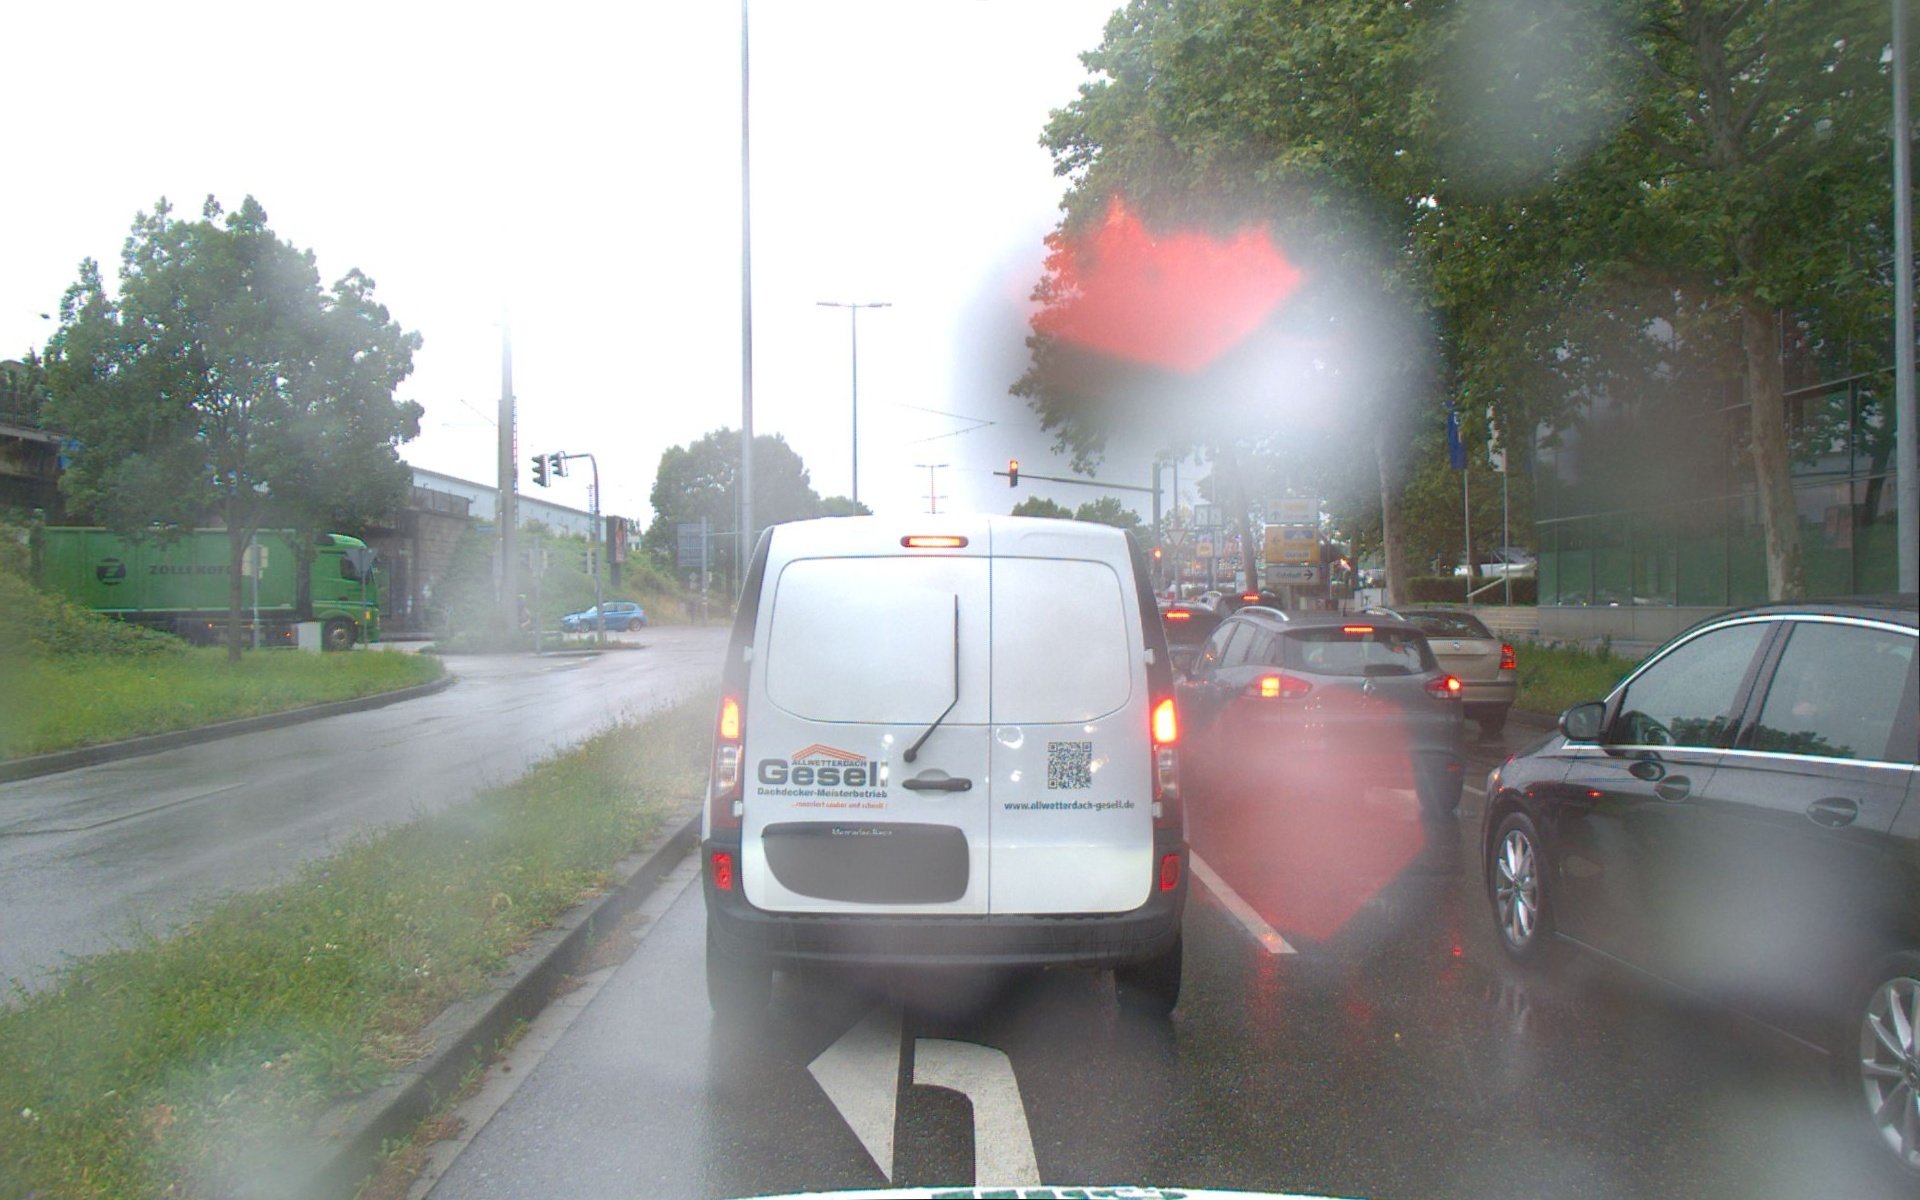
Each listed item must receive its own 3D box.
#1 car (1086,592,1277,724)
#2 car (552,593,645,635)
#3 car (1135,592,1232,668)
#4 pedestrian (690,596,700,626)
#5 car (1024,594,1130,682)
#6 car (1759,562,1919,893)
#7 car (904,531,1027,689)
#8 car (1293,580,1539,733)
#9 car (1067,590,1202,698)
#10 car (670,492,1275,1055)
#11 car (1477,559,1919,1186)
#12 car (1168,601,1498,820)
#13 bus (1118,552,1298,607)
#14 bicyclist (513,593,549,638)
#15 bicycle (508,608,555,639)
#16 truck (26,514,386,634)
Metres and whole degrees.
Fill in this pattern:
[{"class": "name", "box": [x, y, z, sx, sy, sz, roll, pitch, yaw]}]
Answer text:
[{"class": "car", "box": [2.660, 0.646, 20.653, 1.816, 1.486, 3.842, 0, 0, -1]}, {"class": "car", "box": [-17.397, 0.673, 79.619, 3.954, 1.920, 1.976, 1, 1, -35]}, {"class": "car", "box": [5.170, 0.682, 38.691, 1.674, 1.678, 3.842, 1, 0, -1]}, {"class": "pedestrian", "box": [-15.363, 0.627, 95.916, 0.532, 1.746, 0.563, 1, -1, -5]}, {"class": "car", "box": [2.307, 0.733, 33.537, 1.816, 1.678, 3.842, 0, 0, -1]}, {"class": "car", "box": [5.859, 0.672, 8.177, 1.676, 1.724, 4.270, 1, -1, -1]}, {"class": "car", "box": [0.047, 0.131, 26.355, 1.816, 2.336, 3.842, 0, 0, -1]}, {"class": "car", "box": [5.457, 0.602, 20.338, 1.838, 1.641, 3.999, 2, 1, -1]}, {"class": "car", "box": [2.872, 0.680, 27.883, 1.816, 1.678, 3.842, 0, 0, -1]}, {"class": "car", "box": [0.012, 0.540, 7.632, 1.953, 1.807, 4.584, 0, 0, -1]}, {"class": "car", "box": [3.245, 0.688, 5.437, 1.712, 1.582, 4.089, 0, 0, -2]}, {"class": "car", "box": [2.775, 0.754, 13.142, 1.649, 1.433, 3.842, 1, 0, -2]}, {"class": "bus", "box": [16.594, -1.390, 111.142, 11.727, 3.483, 2.315, -1, 1, -1]}, {"class": "bicyclist", "box": [-14.334, 0.511, 55.287, 1.028, 1.475, 0.723, -1, 1, -26]}, {"class": "bicycle", "box": [-14.352, 0.763, 55.333, 1.027, 0.968, 2.866, -1, 1, -25]}, {"class": "truck", "box": [-23.165, -0.783, 51.306, 9.957, 3.430, 2.316, 0, 0, -37]}]
